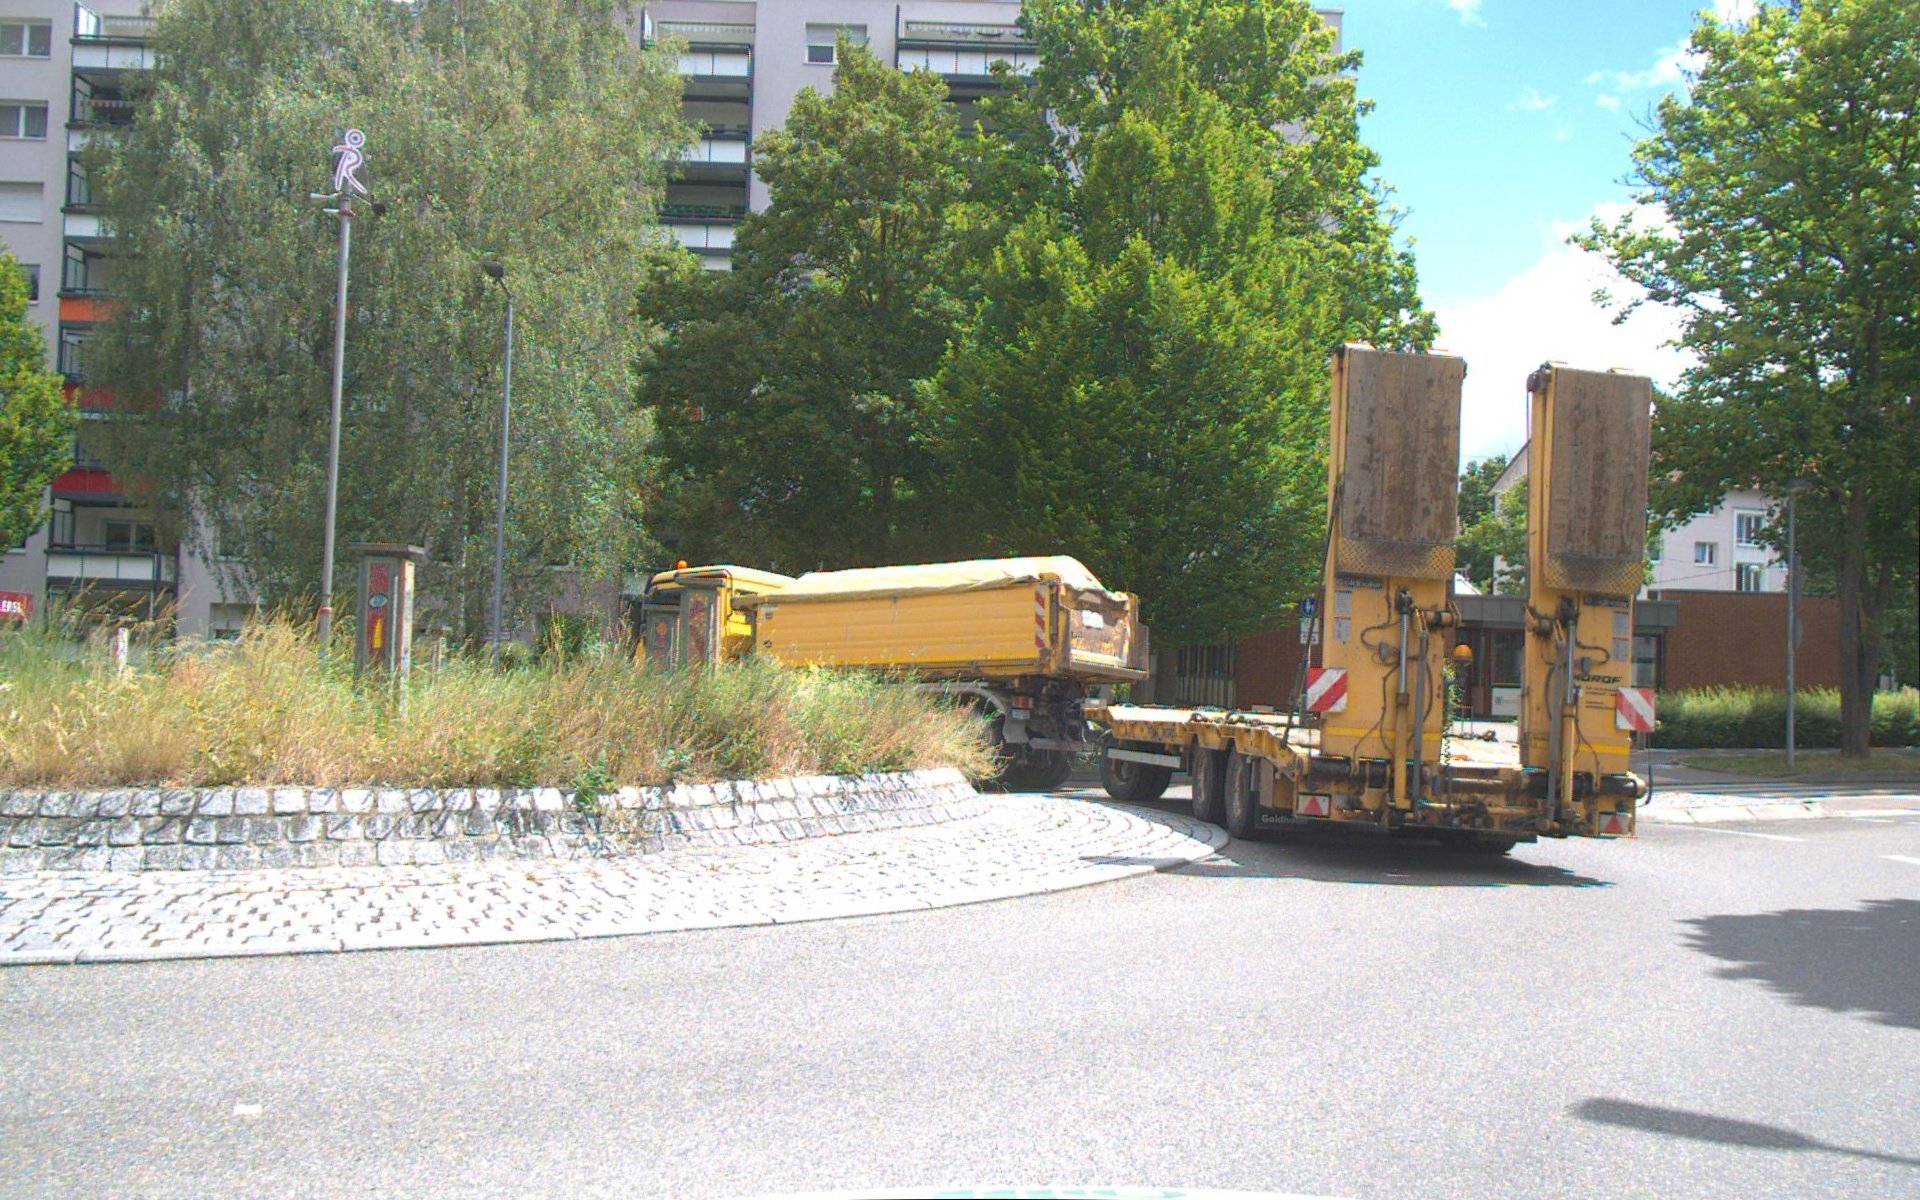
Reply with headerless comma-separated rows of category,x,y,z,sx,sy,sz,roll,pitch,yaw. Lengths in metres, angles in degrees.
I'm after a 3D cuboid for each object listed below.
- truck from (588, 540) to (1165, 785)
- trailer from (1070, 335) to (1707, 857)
truck,-1.389,0.851,24.396,8.306,3.088,2.989,0,-2,33
trailer,3.334,0.213,16.724,2.808,3.432,10.829,3,-3,-4
